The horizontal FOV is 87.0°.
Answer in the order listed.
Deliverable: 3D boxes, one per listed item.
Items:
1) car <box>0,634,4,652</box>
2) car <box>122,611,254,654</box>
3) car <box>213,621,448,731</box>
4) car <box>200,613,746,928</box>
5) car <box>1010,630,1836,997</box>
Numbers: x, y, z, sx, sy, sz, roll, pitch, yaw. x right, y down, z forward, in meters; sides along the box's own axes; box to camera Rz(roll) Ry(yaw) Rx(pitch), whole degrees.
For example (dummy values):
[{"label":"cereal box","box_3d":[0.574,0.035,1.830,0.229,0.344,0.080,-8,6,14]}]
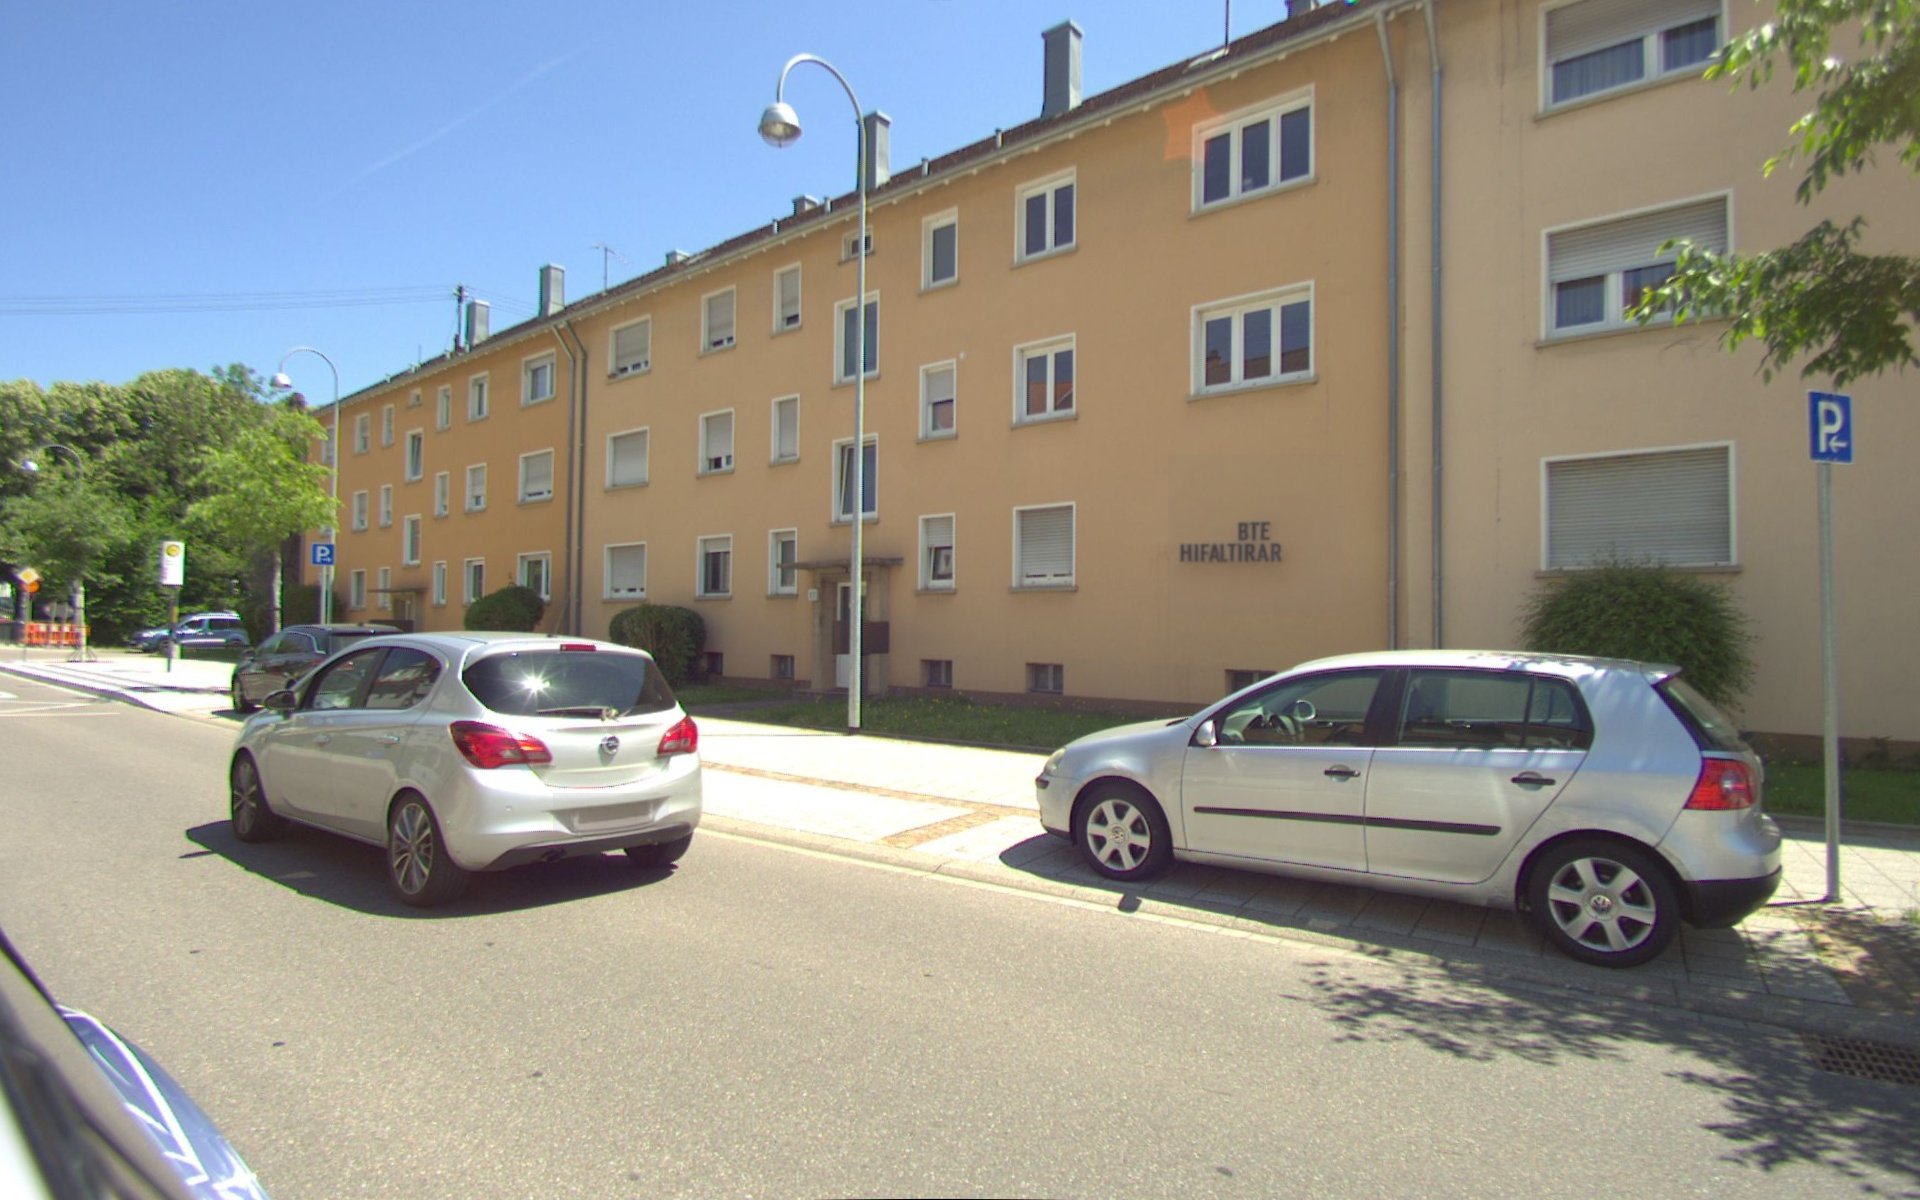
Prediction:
[{"label":"car","box_3d":[-95.235,4.137,98.232,3.974,1.729,1.984,-1,-5,23]},{"label":"car","box_3d":[-35.012,1.477,46.028,1.811,1.888,4.393,0,-2,29]},{"label":"car","box_3d":[-10.334,1.136,16.483,4.557,1.518,1.839,-1,-1,39]},{"label":"car","box_3d":[-3.315,0.868,6.653,3.752,1.508,1.644,-1,-3,37]},{"label":"car","box_3d":[2.549,0.956,6.242,4.078,1.431,1.977,0,0,34]}]
